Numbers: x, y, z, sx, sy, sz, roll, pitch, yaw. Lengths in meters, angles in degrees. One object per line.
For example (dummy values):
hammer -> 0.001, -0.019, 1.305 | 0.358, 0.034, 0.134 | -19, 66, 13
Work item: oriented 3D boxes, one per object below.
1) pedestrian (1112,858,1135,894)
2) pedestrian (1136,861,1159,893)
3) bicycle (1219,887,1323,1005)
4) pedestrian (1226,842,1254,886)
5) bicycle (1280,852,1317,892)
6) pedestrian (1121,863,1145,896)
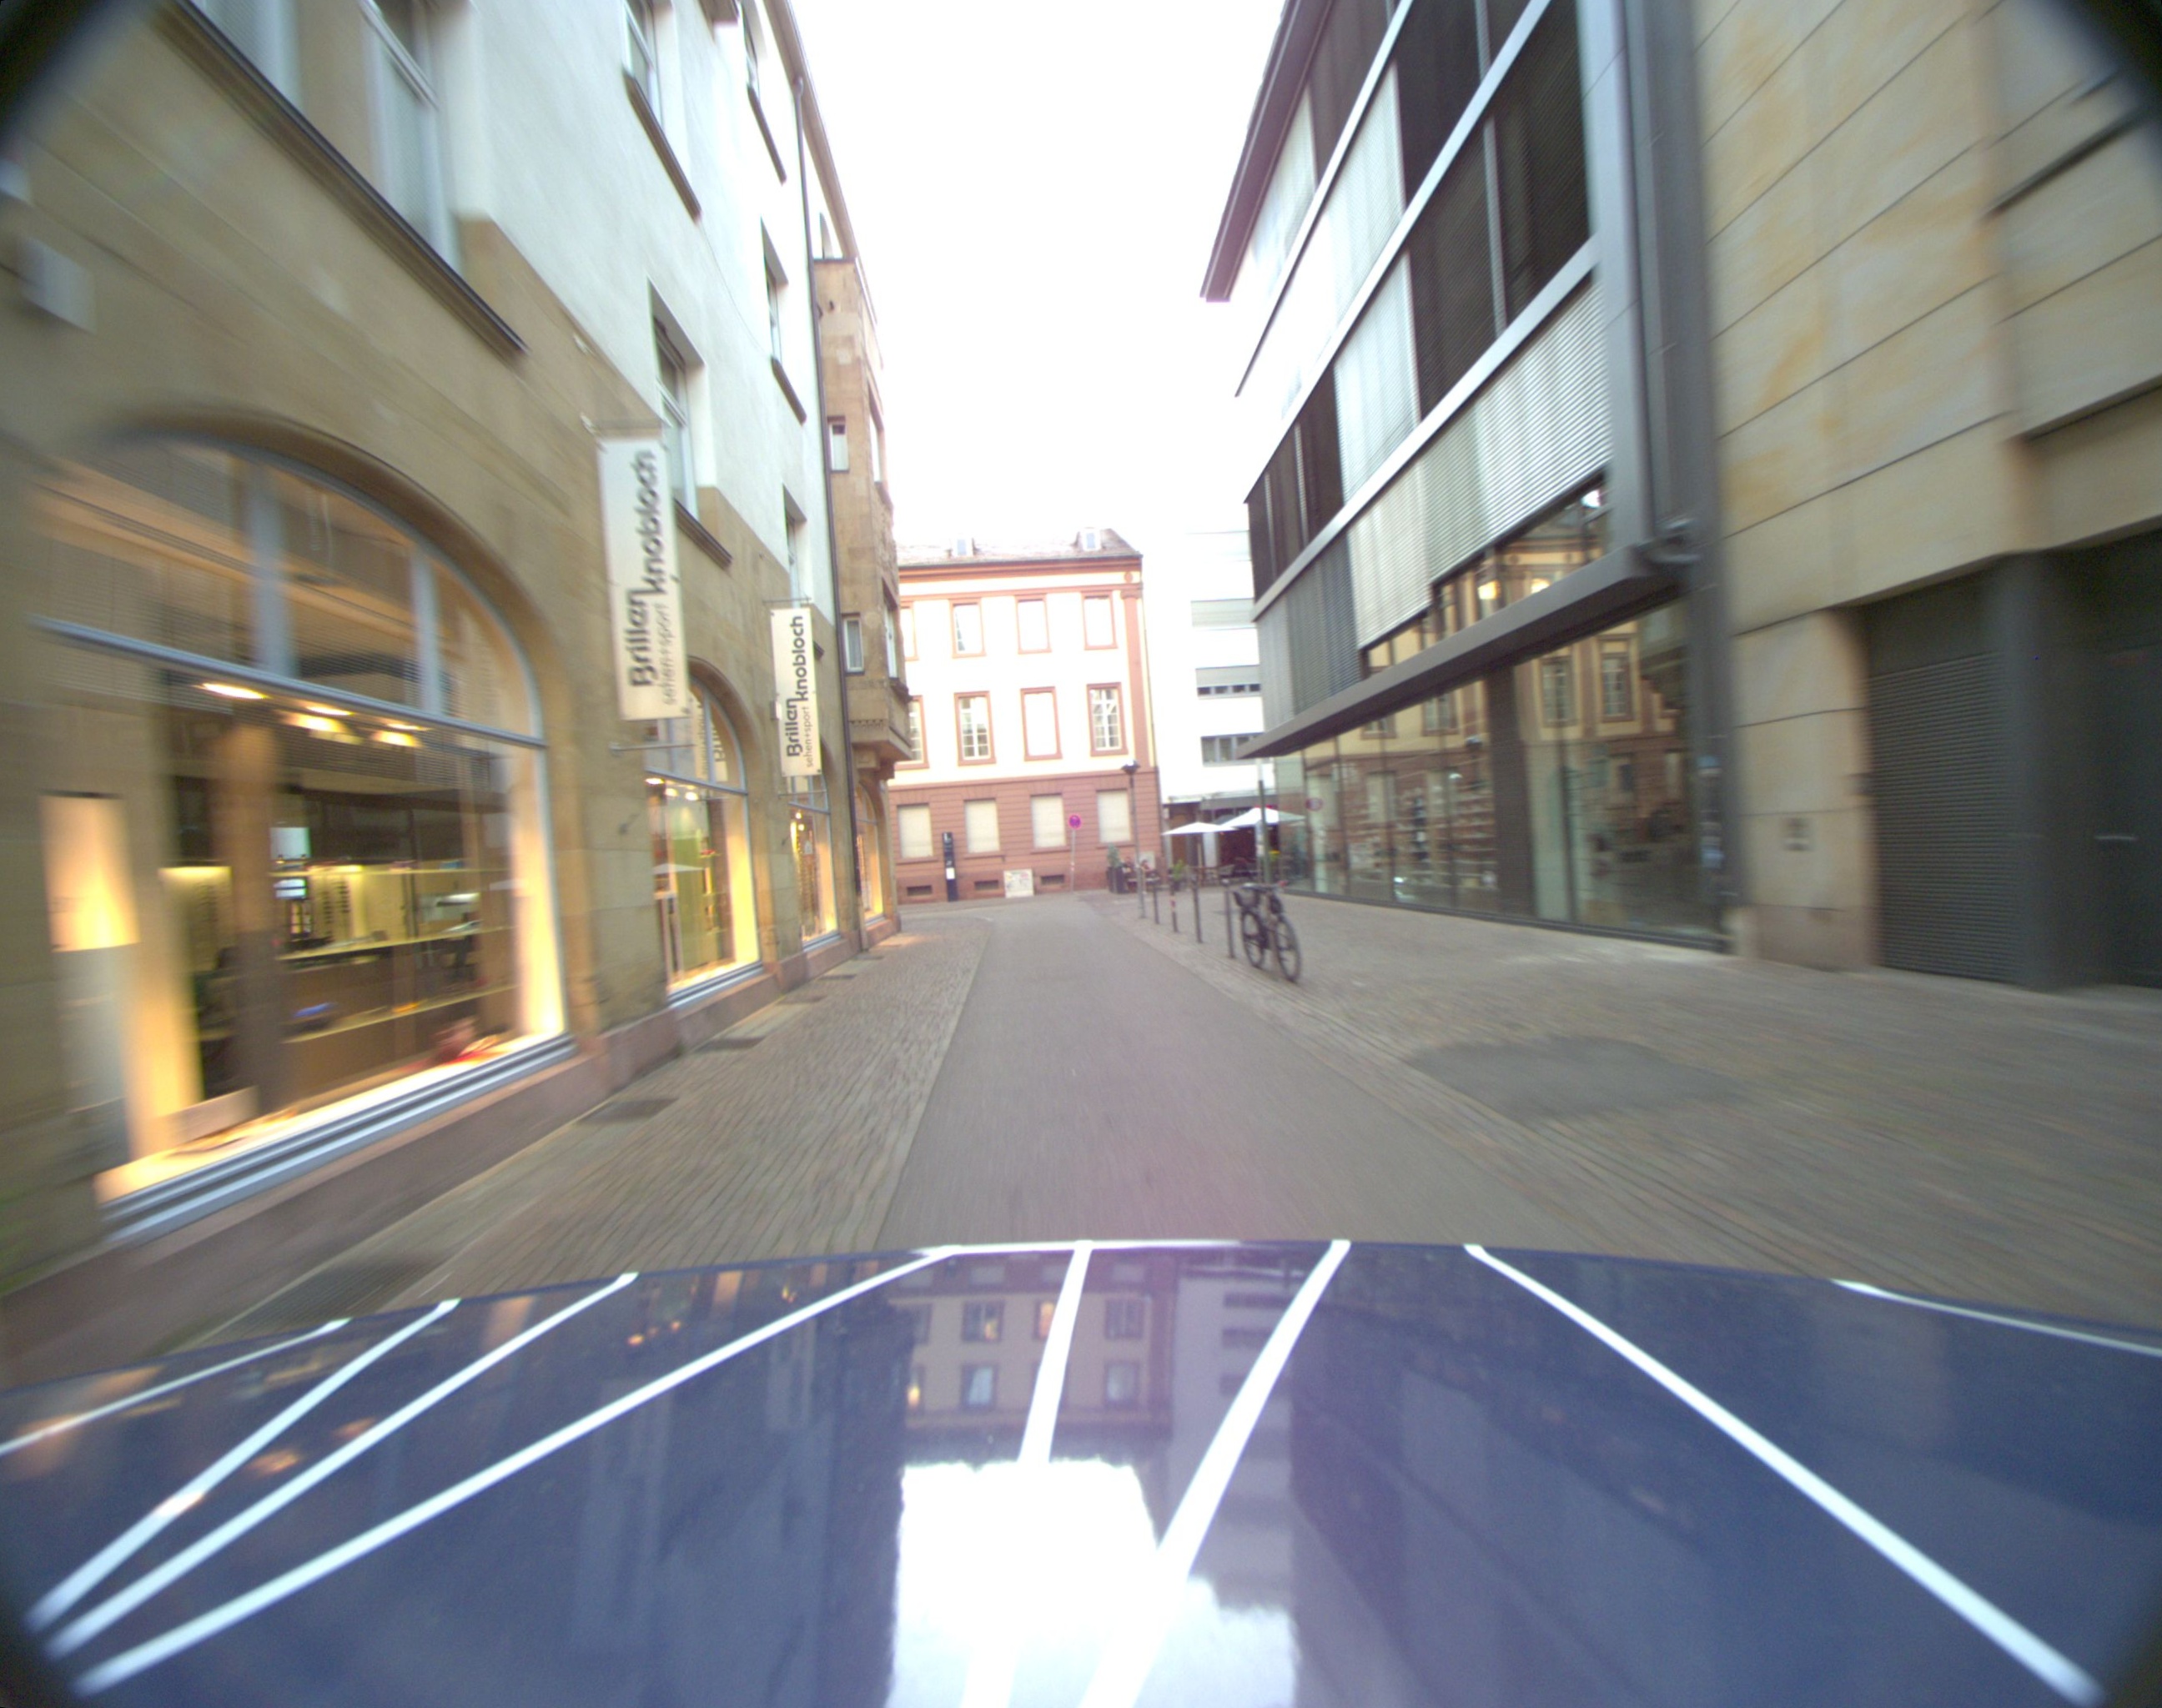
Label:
pedestrian -> 1.654, 0.865, 29.729 | 0.673, 1.323, 0.792 | -4, 2, -6
pedestrian -> 2.585, 0.877, 29.413 | 0.673, 1.177, 0.792 | -4, 2, -6
bicycle -> 2.156, 0.999, 8.860 | 0.411, 1.126, 1.930 | -5, 0, -8
pedestrian -> 6.279, 0.392, 29.950 | 0.725, 1.639, 0.792 | -4, 0, -10
bicycle -> 6.685, 0.571, 23.424 | 0.467, 1.129, 1.703 | -4, -2, -5
pedestrian -> 1.933, 0.940, 28.382 | 0.673, 1.177, 0.792 | -4, 2, -10
